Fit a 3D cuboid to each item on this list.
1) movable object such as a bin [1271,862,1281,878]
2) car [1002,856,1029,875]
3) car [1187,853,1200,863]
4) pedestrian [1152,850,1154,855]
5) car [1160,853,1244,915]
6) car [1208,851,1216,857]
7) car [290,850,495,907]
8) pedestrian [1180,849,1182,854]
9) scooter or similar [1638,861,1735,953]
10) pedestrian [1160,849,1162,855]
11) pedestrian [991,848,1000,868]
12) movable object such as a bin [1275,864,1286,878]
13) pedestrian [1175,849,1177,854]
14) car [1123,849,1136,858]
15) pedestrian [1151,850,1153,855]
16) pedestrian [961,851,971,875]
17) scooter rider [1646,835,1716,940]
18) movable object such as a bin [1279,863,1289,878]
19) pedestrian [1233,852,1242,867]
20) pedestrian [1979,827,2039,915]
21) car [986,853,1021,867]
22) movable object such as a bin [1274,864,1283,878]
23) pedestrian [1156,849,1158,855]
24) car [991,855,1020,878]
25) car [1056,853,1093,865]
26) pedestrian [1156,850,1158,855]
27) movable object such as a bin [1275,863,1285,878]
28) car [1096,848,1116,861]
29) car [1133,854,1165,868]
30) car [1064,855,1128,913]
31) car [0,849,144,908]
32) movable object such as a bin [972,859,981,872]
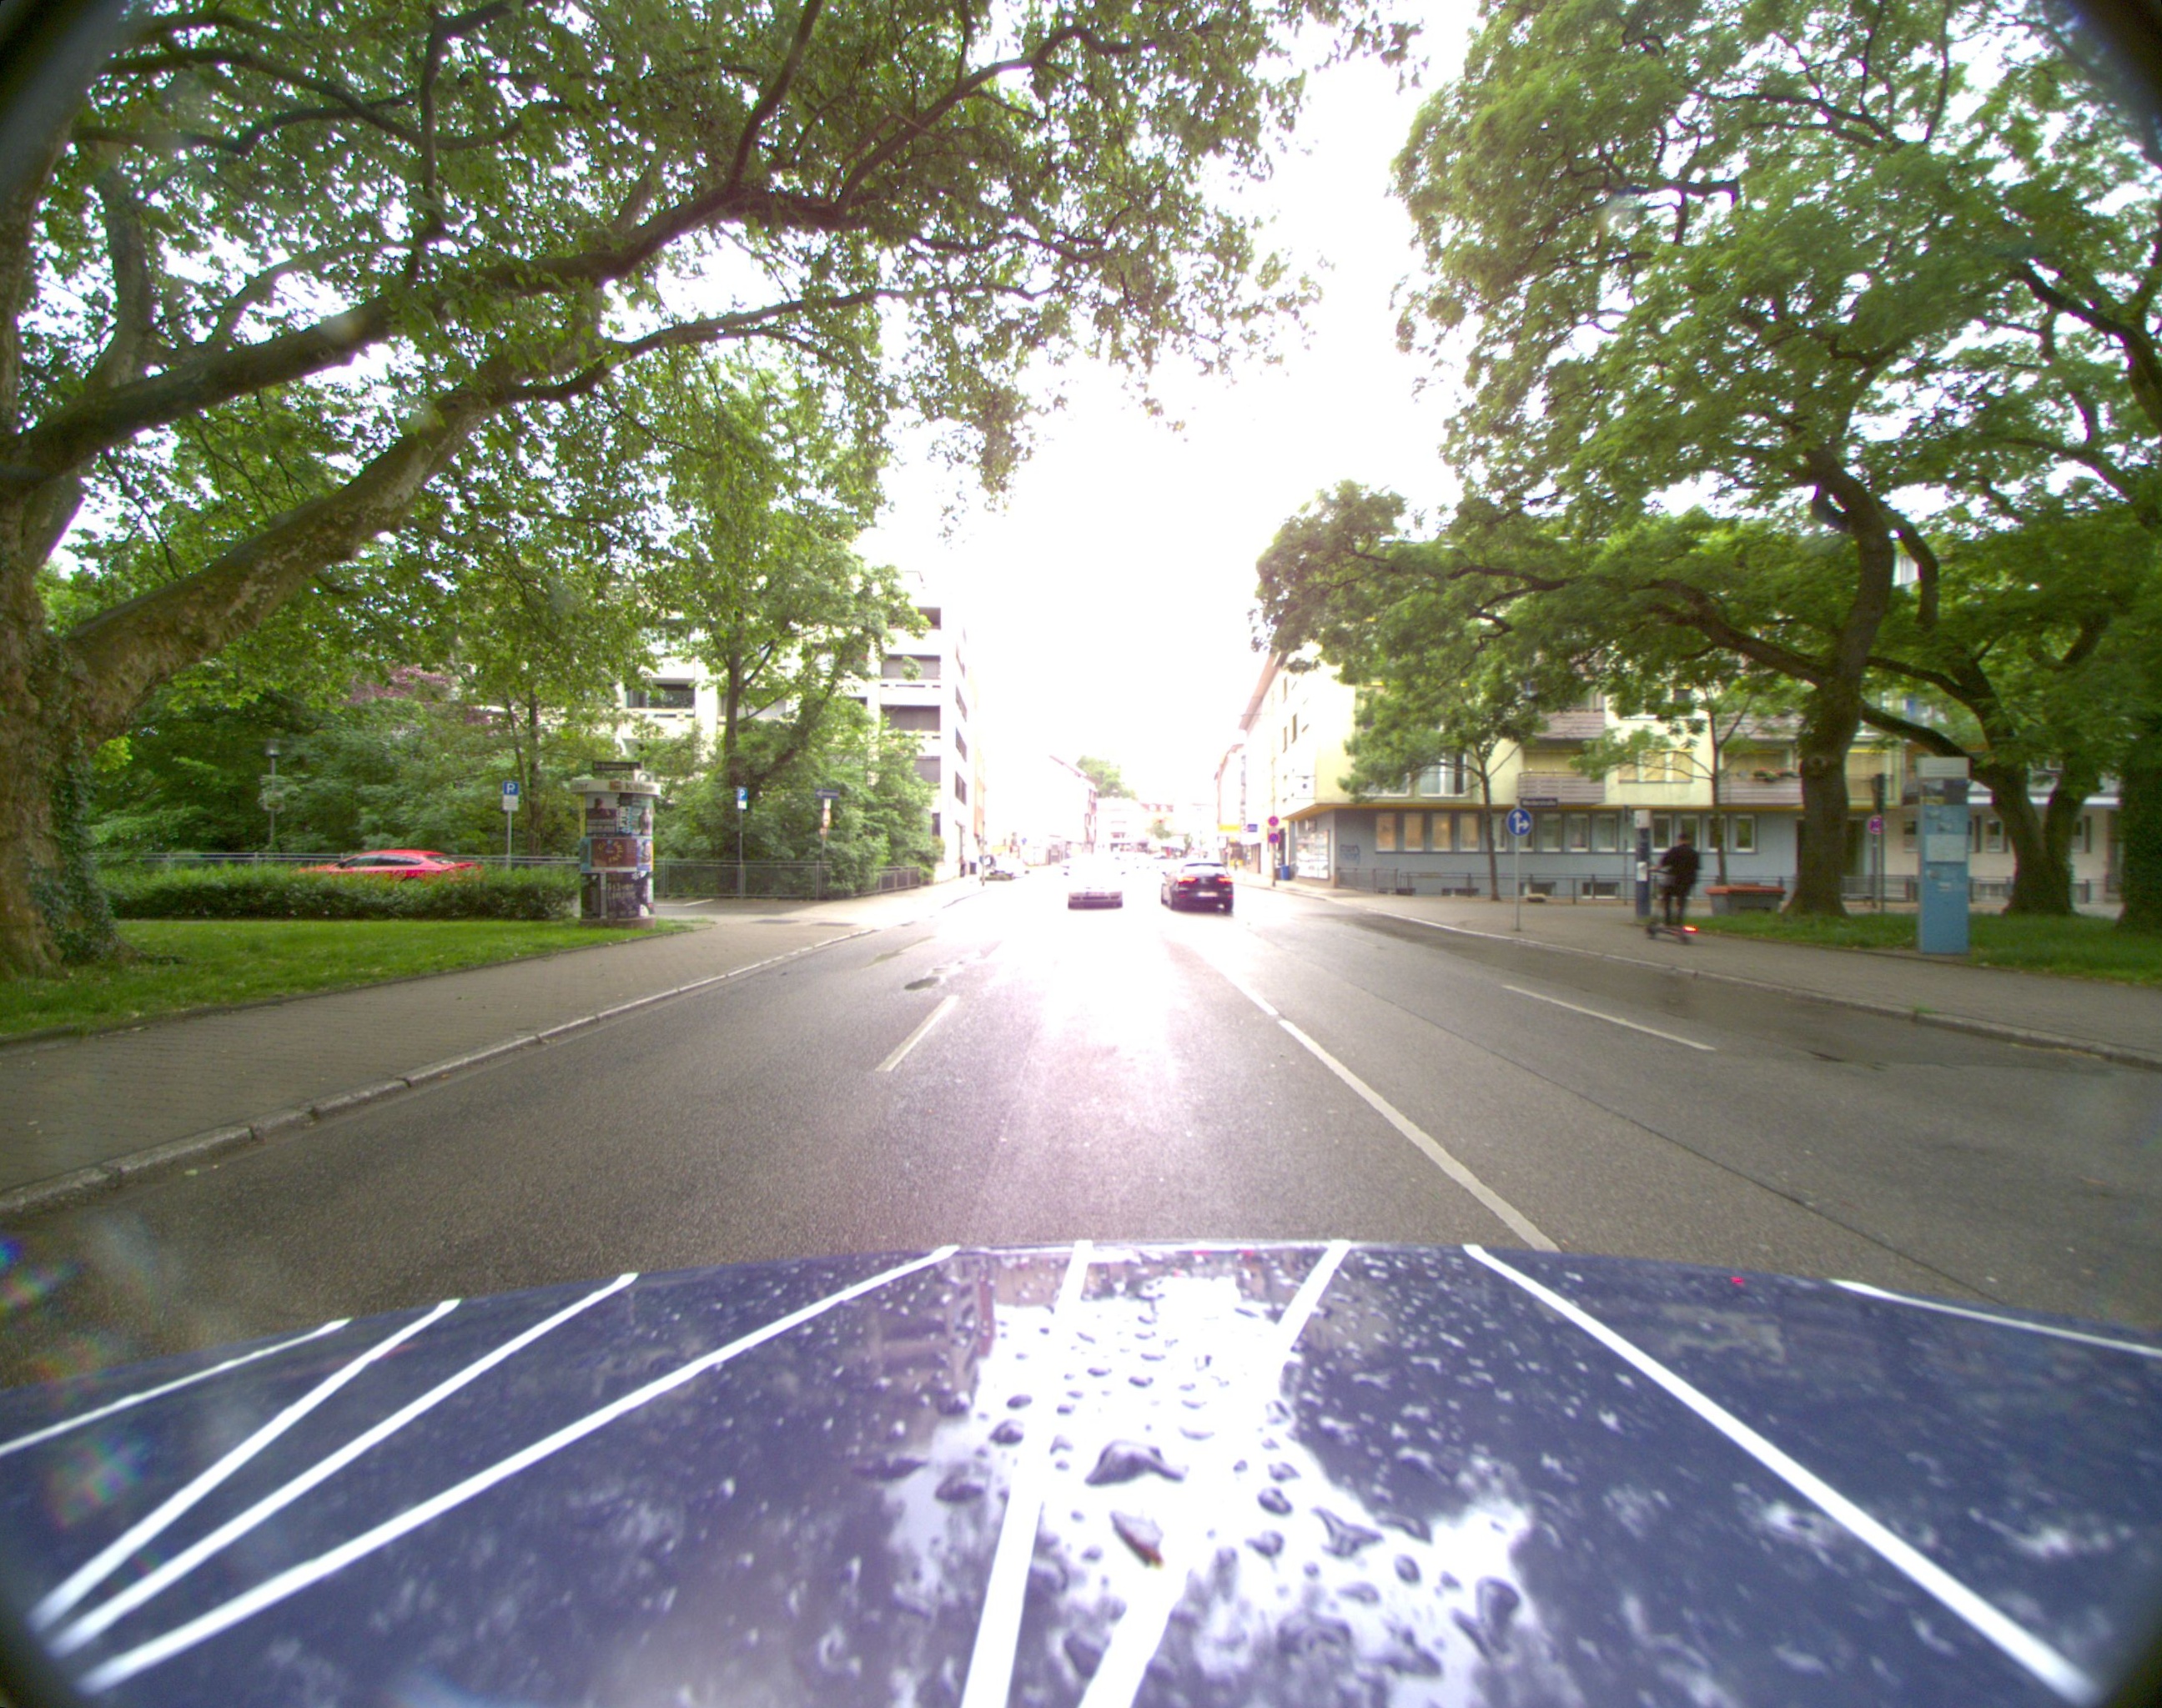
[{"bbox_3d":[13.008,1.081,50.633,0.517,0.994,0.524,-4,0,8],"label":"movable object such as a bin"},{"bbox_3d":[-5.180,0.880,60.475,1.835,1.412,4.569,1,0,-1],"label":"car"},{"bbox_3d":[17.964,0.582,121.379,1.834,1.612,4.003,0,0,10],"label":"car"},{"bbox_3d":[17.443,-0.443,184.604,0.379,1.283,0.401,1,1,38],"label":"pedestrian"},{"bbox_3d":[3.426,0.788,22.232,1.850,1.616,4.138,1,0,1],"label":"car"},{"bbox_3d":[33.353,-0.037,193.471,1.591,1.518,3.491,0,0,14],"label":"car"},{"bbox_3d":[-19.558,0.669,21.752,3.999,1.473,1.875,1,1,-5],"label":"car"},{"bbox_3d":[22.956,-0.572,174.082,0.400,1.283,0.380,0,1,1],"label":"pedestrian"},{"bbox_3d":[10.284,0.864,12.973,0.815,1.437,1.400,0,1,17],"label":"scooter or similar"},{"bbox_3d":[18.863,-0.449,178.683,0.379,1.283,0.401,1,1,39],"label":"pedestrian"},{"bbox_3d":[-9.404,0.459,83.202,0.806,2.140,0.737,0,1,-23],"label":"pedestrian"},{"bbox_3d":[12.814,1.090,48.815,0.529,0.890,0.435,-4,0,8],"label":"movable object such as a bin"},{"bbox_3d":[22.095,-0.562,176.041,0.399,1.283,0.380,0,1,10],"label":"pedestrian"},{"bbox_3d":[9.767,-0.009,153.298,2.042,1.754,4.574,1,0,10],"label":"car"},{"bbox_3d":[16.781,-0.375,180.226,0.379,1.283,0.401,1,1,38],"label":"pedestrian"},{"bbox_3d":[-7.982,0.633,52.648,0.599,1.650,0.691,3,0,-7],"label":"pedestrian"},{"bbox_3d":[10.327,0.557,13.094,0.734,1.756,0.646,0,2,17],"label":"scooter rider"},{"bbox_3d":[12.896,1.045,48.290,0.529,0.955,0.435,-4,0,8],"label":"movable object such as a bin"},{"bbox_3d":[17.013,0.559,82.711,0.785,1.578,0.674,-2,0,21],"label":"pedestrian"},{"bbox_3d":[21.620,0.379,17.716,0.780,2.002,0.754,1,1,44],"label":"pedestrian"},{"bbox_3d":[-9.501,0.725,93.762,4.157,1.576,1.801,1,0,-1],"label":"car"},{"bbox_3d":[12.945,1.118,49.893,0.465,0.922,0.428,-4,0,8],"label":"movable object such as a bin"},{"bbox_3d":[18.351,-0.467,183.172,0.379,1.283,0.401,1,1,38],"label":"pedestrian"},{"bbox_3d":[-5.319,0.864,53.635,1.706,1.549,3.804,1,0,-1],"label":"car"},{"bbox_3d":[-0.811,0.613,93.677,4.466,1.377,1.475,0,0,-7],"label":"car"},{"bbox_3d":[17.879,-0.392,178.635,0.379,1.283,0.401,1,1,40],"label":"pedestrian"},{"bbox_3d":[12.901,1.086,49.311,0.529,0.922,0.426,-4,0,8],"label":"movable object such as a bin"},{"bbox_3d":[3.731,0.082,112.886,2.015,1.754,4.767,1,0,12],"label":"car"},{"bbox_3d":[8.877,0.893,98.715,1.753,1.559,4.701,-2,0,38],"label":"car"},{"bbox_3d":[0.444,0.854,23.521,1.756,1.559,4.000,-2,0,1],"label":"car"},{"bbox_3d":[-29.536,0.663,21.403,3.932,1.561,1.735,1,0,-4],"label":"car"},{"bbox_3d":[-8.611,0.935,62.841,0.681,1.097,0.514,0,1,-2],"label":"movable object such as a bin"}]
